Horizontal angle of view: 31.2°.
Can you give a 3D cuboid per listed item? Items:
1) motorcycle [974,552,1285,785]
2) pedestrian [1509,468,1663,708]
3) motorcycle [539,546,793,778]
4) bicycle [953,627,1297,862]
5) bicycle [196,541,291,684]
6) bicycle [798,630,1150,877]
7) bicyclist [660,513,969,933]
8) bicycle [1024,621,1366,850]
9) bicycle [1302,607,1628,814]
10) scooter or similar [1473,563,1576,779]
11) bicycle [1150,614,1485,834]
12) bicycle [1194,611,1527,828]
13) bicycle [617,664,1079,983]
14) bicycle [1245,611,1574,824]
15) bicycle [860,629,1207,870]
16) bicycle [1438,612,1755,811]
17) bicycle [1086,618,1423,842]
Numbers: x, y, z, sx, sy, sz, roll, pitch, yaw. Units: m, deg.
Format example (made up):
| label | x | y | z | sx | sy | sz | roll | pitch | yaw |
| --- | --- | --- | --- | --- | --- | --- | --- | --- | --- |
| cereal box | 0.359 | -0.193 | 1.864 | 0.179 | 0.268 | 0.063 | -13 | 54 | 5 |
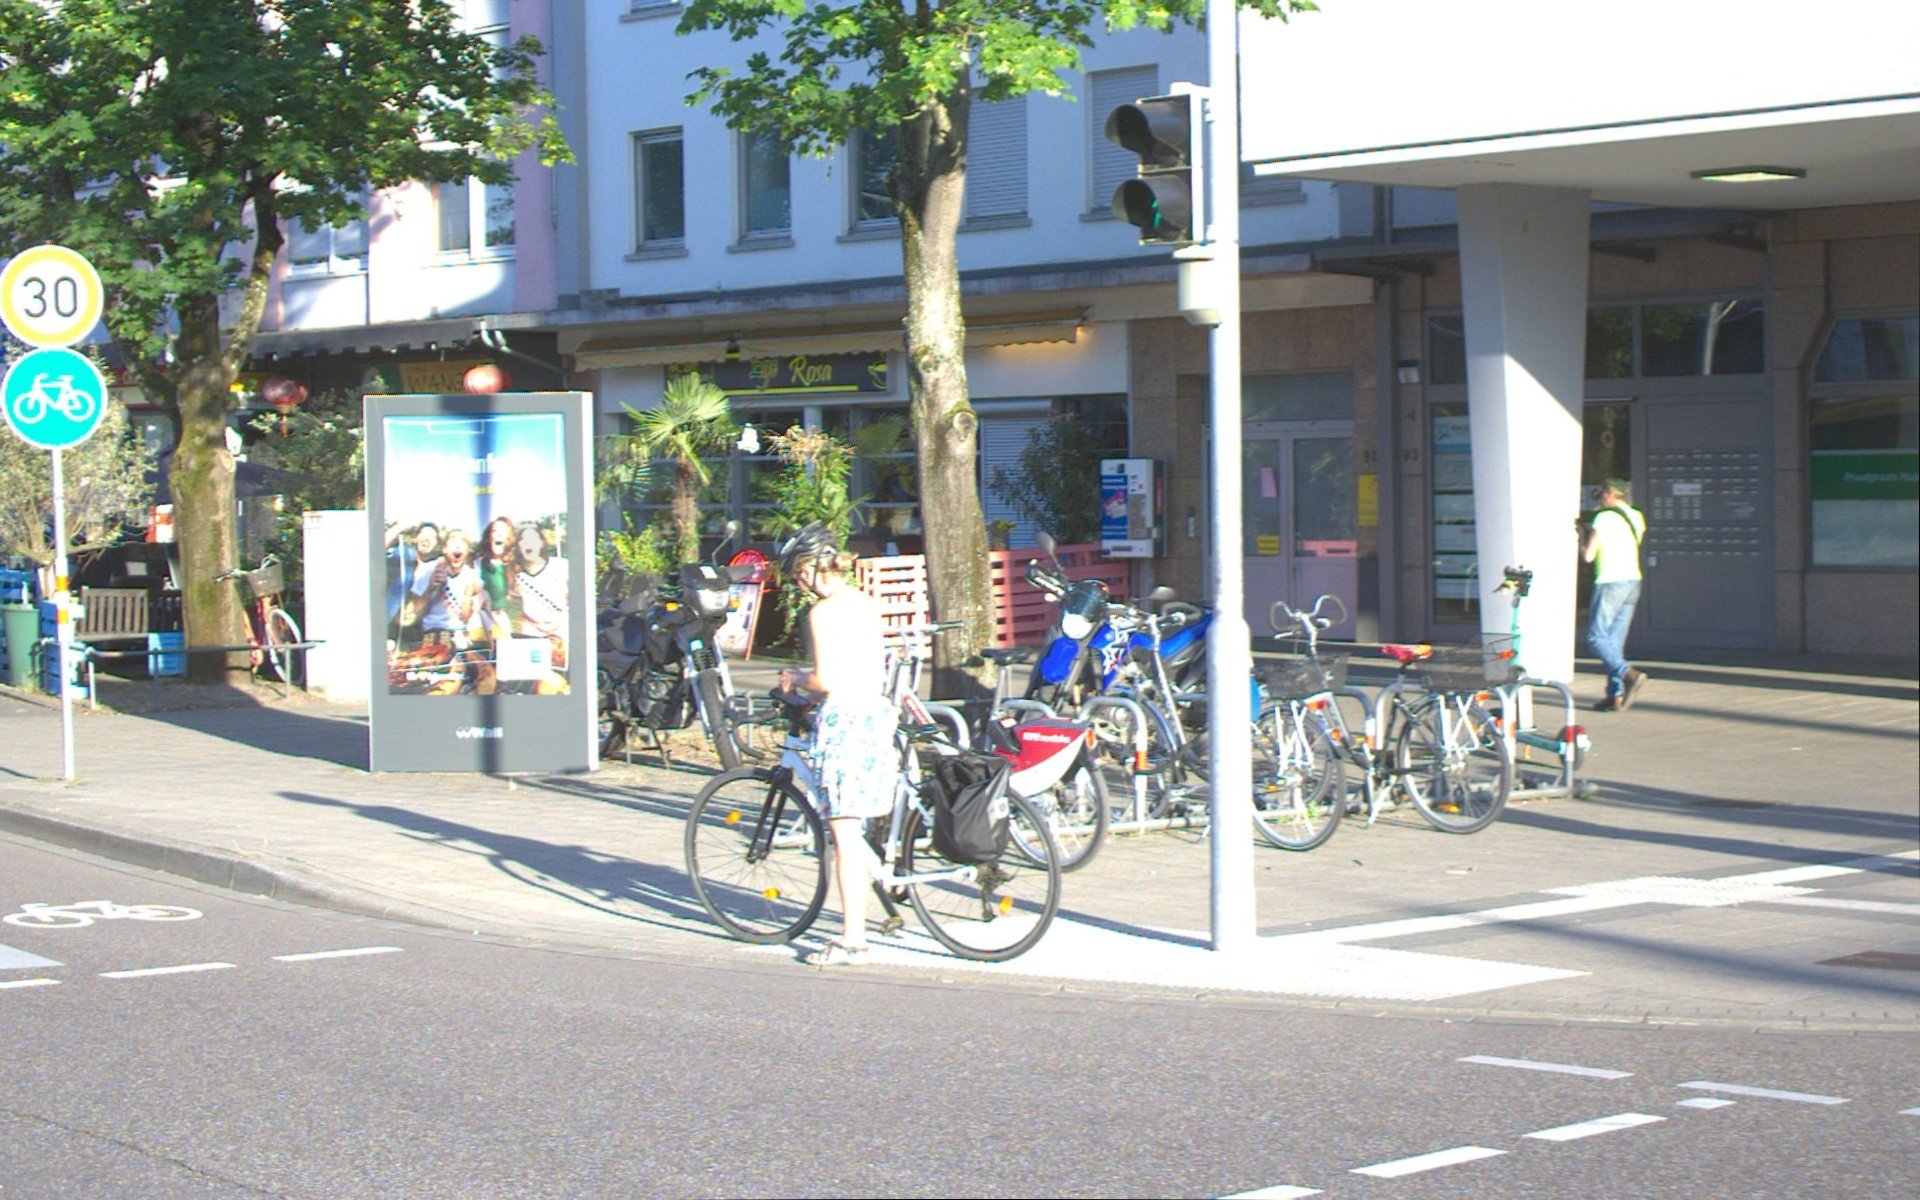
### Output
| label | x | y | z | sx | sy | sz | roll | pitch | yaw |
| --- | --- | --- | --- | --- | --- | --- | --- | --- | --- |
| motorcycle | 1.069 | 0.388 | 21.237 | 0.642 | 1.349 | 2.143 | 2 | 2 | 45 |
| pedestrian | 4.591 | -0.102 | 25.227 | 0.877 | 1.719 | 0.654 | 2 | 2 | 44 |
| motorcycle | -1.862 | 0.353 | 21.445 | 0.641 | 1.339 | 2.202 | -1 | 2 | -32 |
| bicycle | 0.774 | 0.672 | 16.555 | 1.793 | 1.024 | 0.360 | 2 | 2 | 40 |
| bicycle | -6.382 | 0.089 | 30.558 | 0.446 | 1.206 | 2.083 | 0 | 2 | -23 |
| bicycle | 0.042 | 0.680 | 15.795 | 1.793 | 1.024 | 0.360 | 2 | 2 | 40 |
| bicyclist | -0.534 | 0.419 | 12.662 | 0.806 | 1.475 | 0.796 | 2 | 2 | 39 |
| bicycle | 1.136 | 0.644 | 16.945 | 1.792 | 1.024 | 0.368 | 2 | 2 | 39 |
| bicycle | 2.703 | 0.572 | 18.536 | 1.792 | 1.024 | 0.364 | 2 | 2 | 39 |
| scooter or similar | 3.486 | 0.415 | 21.296 | 0.308 | 1.259 | 1.526 | 0 | 2 | -3 |
| bicycle | 1.801 | 0.610 | 17.520 | 1.793 | 1.024 | 0.360 | 2 | 2 | 40 |
| bicycle | 2.053 | 0.597 | 17.811 | 1.792 | 1.024 | 0.364 | 2 | 2 | 39 |
| bicycle | -0.436 | 0.786 | 12.618 | 1.792 | 1.024 | 0.515 | 2 | 2 | 39 |
| bicycle | 2.352 | 0.599 | 18.145 | 1.792 | 1.024 | 0.364 | 2 | 2 | 39 |
| bicycle | 0.322 | 0.679 | 16.151 | 1.793 | 1.024 | 0.360 | 2 | 2 | 40 |
| bicycle | 3.565 | 0.609 | 19.379 | 1.792 | 1.024 | 0.364 | 2 | 2 | 39 |
| bicycle | 1.454 | 0.629 | 17.246 | 1.793 | 1.024 | 0.360 | 2 | 2 | 40 |
